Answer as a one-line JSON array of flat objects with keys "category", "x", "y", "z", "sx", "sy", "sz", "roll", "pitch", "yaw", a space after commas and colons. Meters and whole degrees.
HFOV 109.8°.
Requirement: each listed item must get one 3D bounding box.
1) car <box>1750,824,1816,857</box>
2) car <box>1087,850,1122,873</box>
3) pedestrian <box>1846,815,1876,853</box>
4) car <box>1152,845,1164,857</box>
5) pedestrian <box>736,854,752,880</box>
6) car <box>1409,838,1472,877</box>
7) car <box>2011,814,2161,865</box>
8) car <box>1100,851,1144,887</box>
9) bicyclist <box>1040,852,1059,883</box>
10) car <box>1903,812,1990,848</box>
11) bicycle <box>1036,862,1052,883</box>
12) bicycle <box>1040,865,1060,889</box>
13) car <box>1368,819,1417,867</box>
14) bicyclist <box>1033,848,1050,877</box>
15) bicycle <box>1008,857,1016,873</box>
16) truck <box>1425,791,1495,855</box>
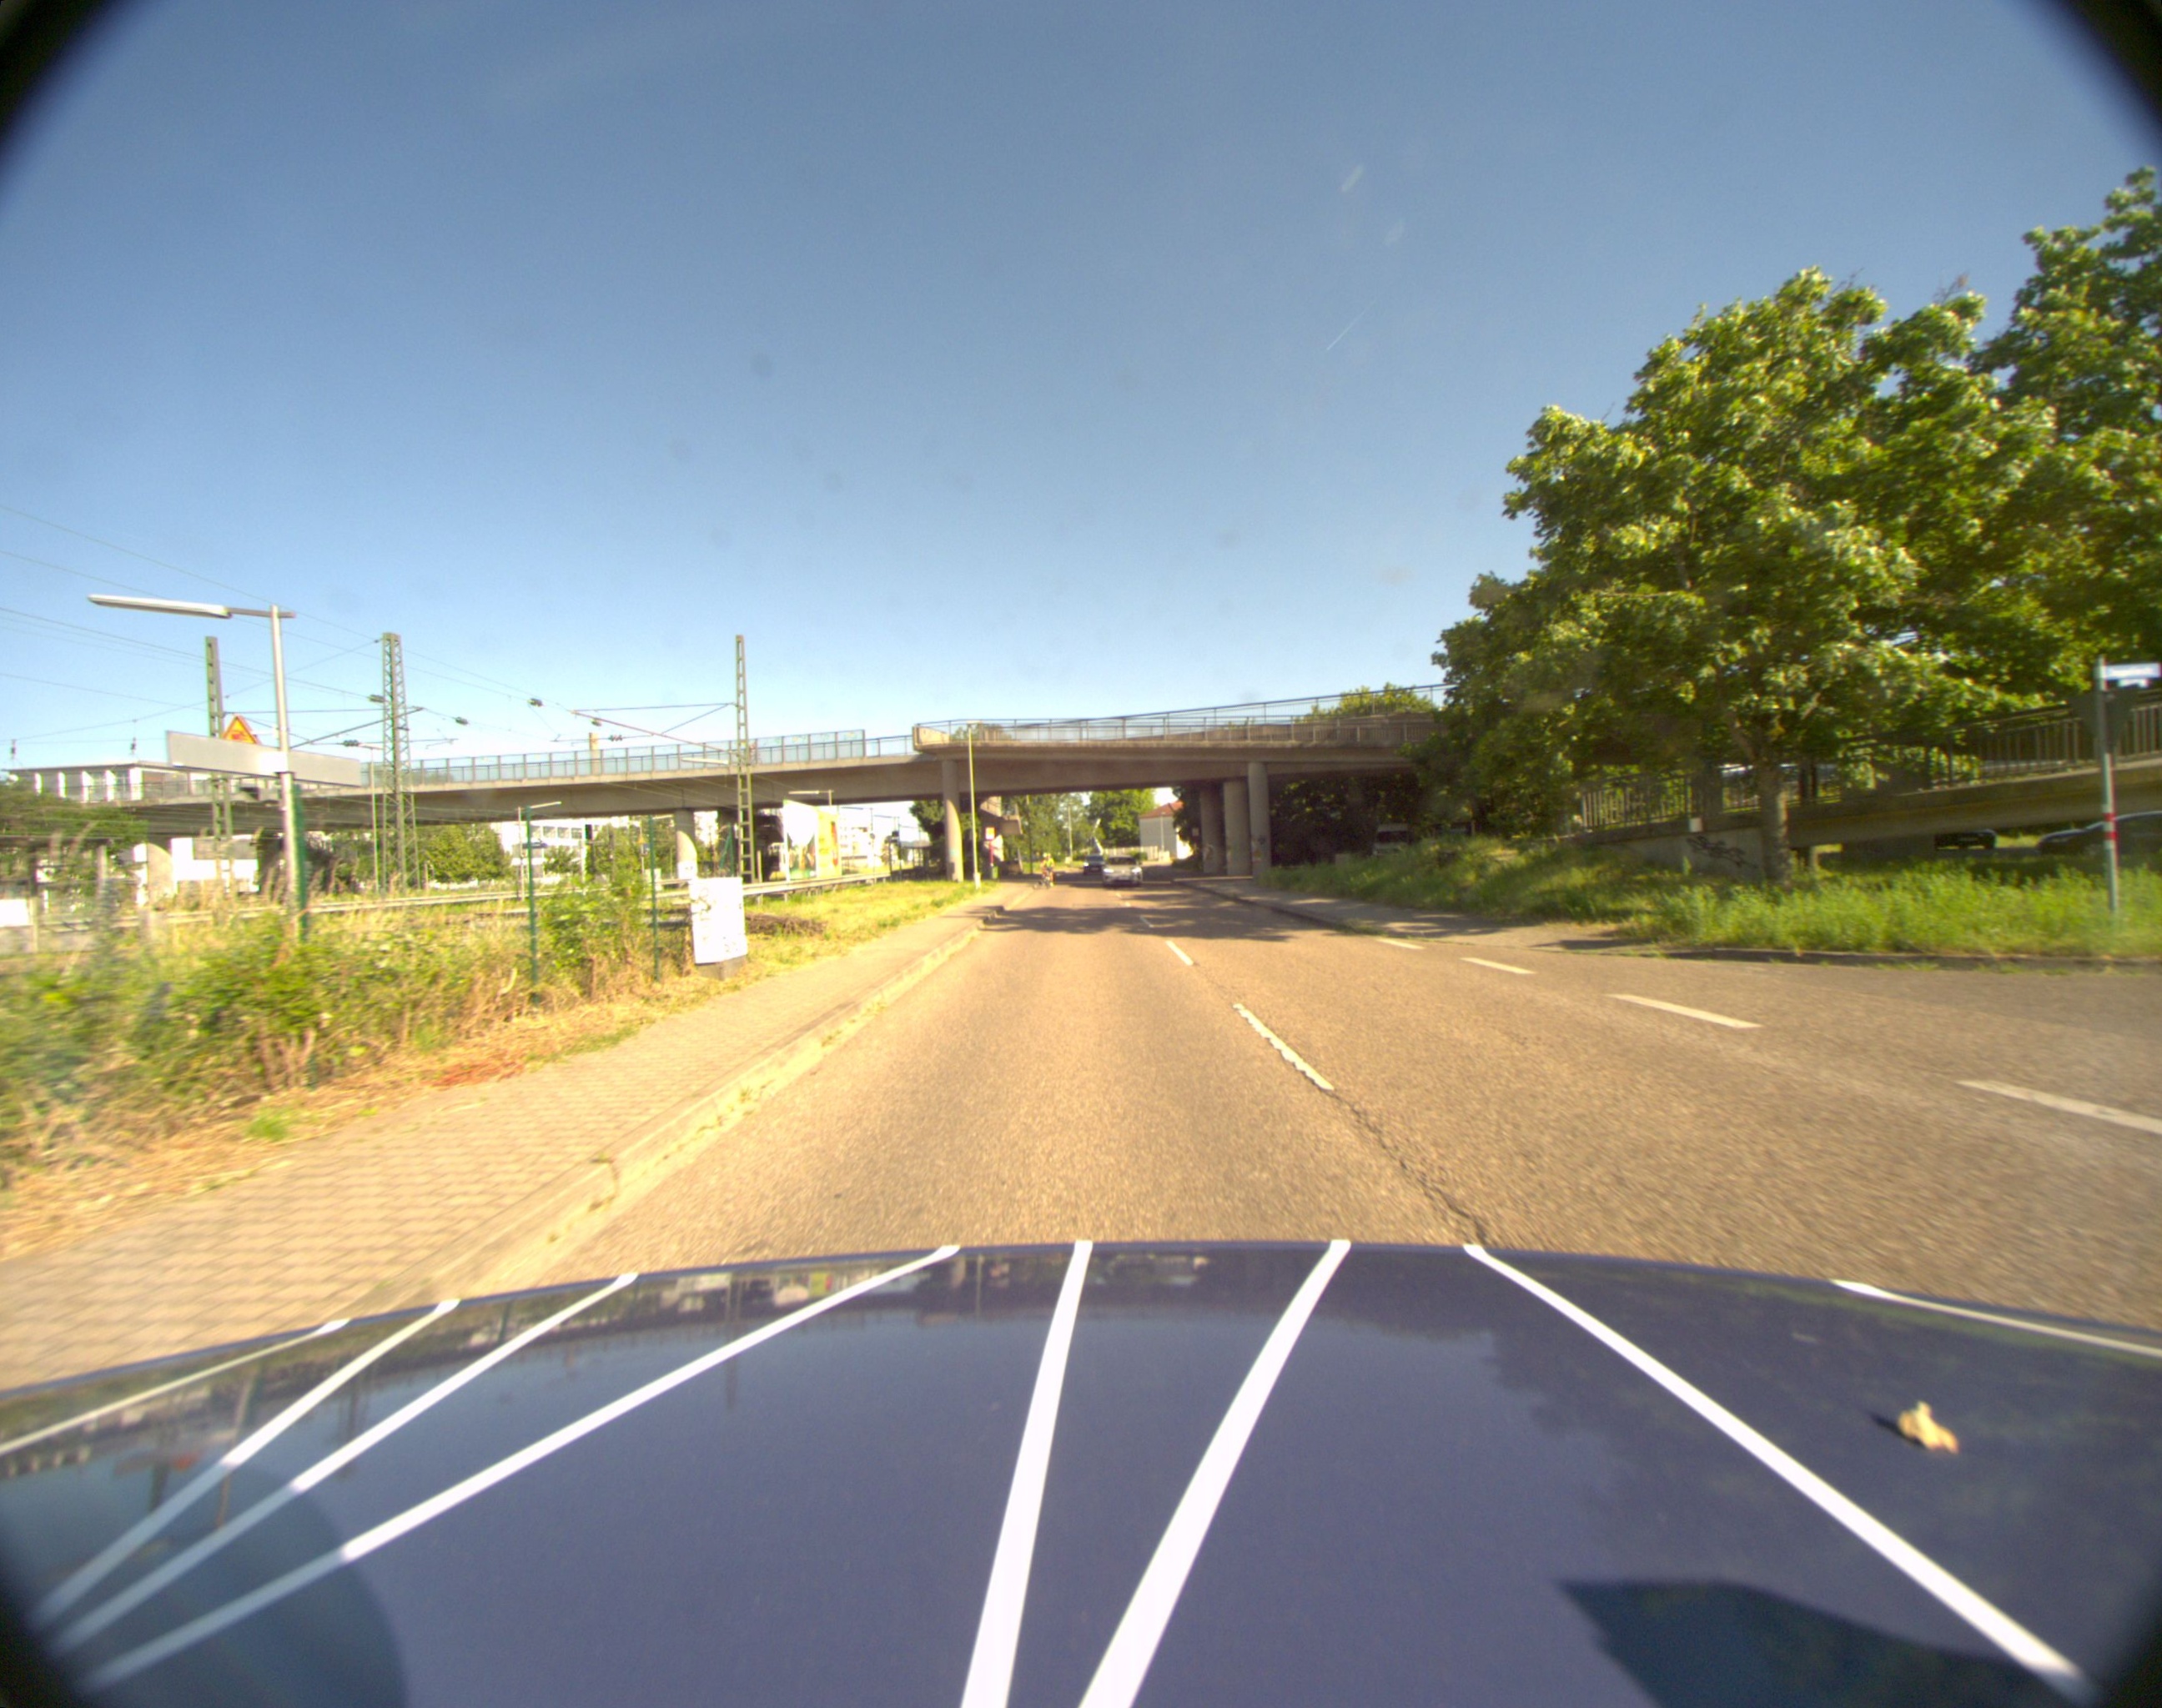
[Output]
[{"category": "car", "x": 34.052, "y": -0.680, "z": 36.952, "sx": 1.735, "sy": 1.434, "sz": 4.258, "roll": -2, "pitch": 1, "yaw": 35}, {"category": "car", "x": 1.872, "y": 0.594, "z": 59.298, "sx": 1.848, "sy": 1.621, "sz": 4.299, "roll": -2, "pitch": 1, "yaw": 13}, {"category": "pedestrian", "x": 34.492, "y": -0.881, "z": 33.602, "sx": 0.711, "sy": 1.653, "sz": 0.667, "roll": -3, "pitch": 1, "yaw": -21}, {"category": "car", "x": 12.565, "y": -0.474, "z": 124.168, "sx": 1.998, "sy": 1.767, "sz": 4.367, "roll": -2, "pitch": 1, "yaw": 6}, {"category": "pedestrian", "x": -26.839, "y": 1.050, "z": 60.520, "sx": 0.895, "sy": 2.002, "sz": 0.835, "roll": -2, "pitch": 1, "yaw": -3}, {"category": "car", "x": 16.235, "y": 0.124, "z": 34.186, "sx": 1.864, "sy": 1.632, "sz": 4.290, "roll": 2, "pitch": 2, "yaw": 34}, {"category": "car", "x": 33.873, "y": -0.475, "z": 24.710, "sx": 4.287, "sy": 1.543, "sz": 1.687, "roll": -2, "pitch": 1, "yaw": 35}, {"category": "car", "x": 2.002, "y": 0.714, "z": 37.929, "sx": 1.850, "sy": 1.621, "sz": 4.294, "roll": -2, "pitch": 1, "yaw": -1}, {"category": "bicyclist", "x": -1.529, "y": 0.664, "z": 37.326, "sx": 0.843, "sy": 1.480, "sz": 0.924, "roll": -2, "pitch": 1, "yaw": 1}, {"category": "car", "x": 38.036, "y": -1.057, "z": 33.488, "sx": 1.735, "sy": 1.434, "sz": 4.259, "roll": -2, "pitch": 1, "yaw": 38}, {"category": "bicycle", "x": -1.979, "y": 0.988, "z": 40.907, "sx": 0.843, "sy": 1.045, "sz": 2.189, "roll": -2, "pitch": 0, "yaw": -2}, {"category": "bicycle", "x": -1.513, "y": 1.120, "z": 37.345, "sx": 0.843, "sy": 1.045, "sz": 2.190, "roll": -2, "pitch": 0, "yaw": 1}, {"category": "car", "x": 18.922, "y": -0.628, "z": 46.000, "sx": 1.942, "sy": 2.665, "sz": 6.020, "roll": -2, "pitch": 0, "yaw": 29}, {"category": "bicyclist", "x": -2.102, "y": 0.450, "z": 40.811, "sx": 0.843, "sy": 1.480, "sz": 0.923, "roll": -2, "pitch": 1, "yaw": -2}, {"category": "bicycle", "x": -5.431, "y": 0.852, "z": 59.549, "sx": 0.599, "sy": 1.175, "sz": 2.180, "roll": -2, "pitch": 1, "yaw": -5}, {"category": "truck", "x": 23.186, "y": -1.829, "z": 46.193, "sx": 2.476, "sy": 3.531, "sz": 7.983, "roll": -2, "pitch": 1, "yaw": 36}]
